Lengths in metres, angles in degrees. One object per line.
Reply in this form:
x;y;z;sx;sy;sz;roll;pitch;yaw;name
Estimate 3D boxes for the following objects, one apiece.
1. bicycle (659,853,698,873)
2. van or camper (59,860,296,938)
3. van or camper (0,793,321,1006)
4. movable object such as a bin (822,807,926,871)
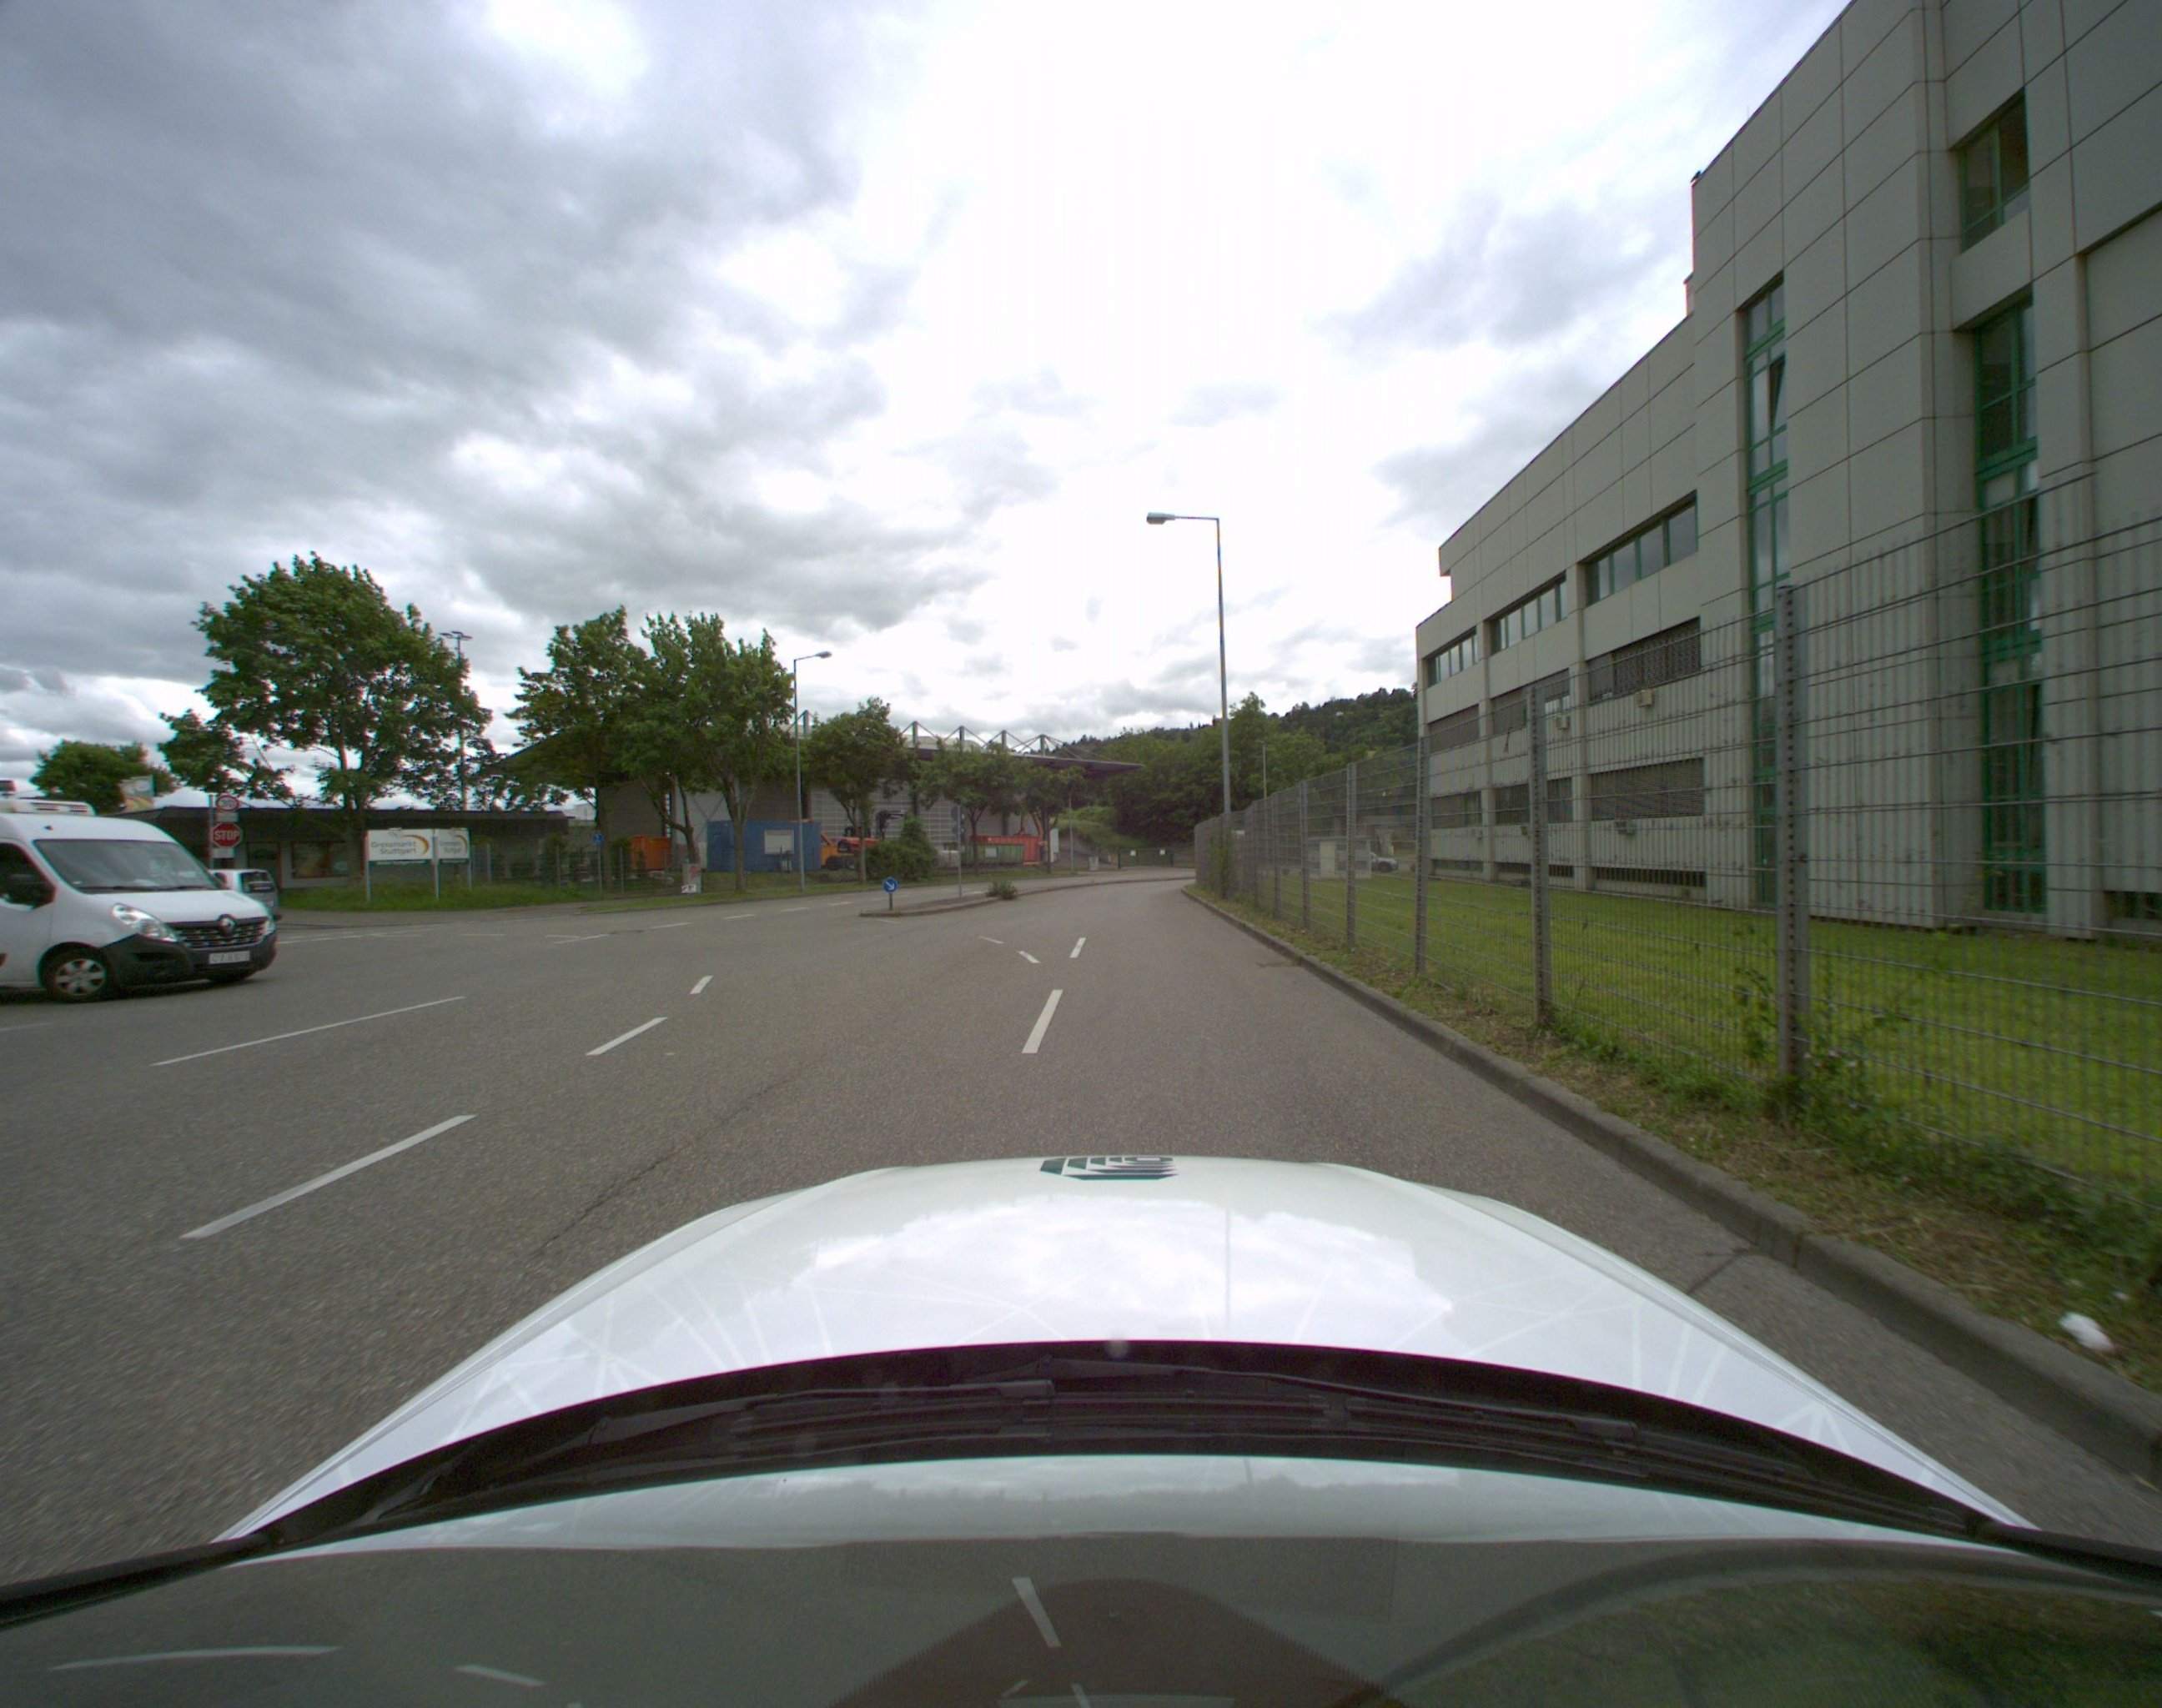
-21.572;0.486;43.687;0.654;0.974;1.773;-2;0;36;bicycle
-25.087;1.194;22.749;4.251;1.963;1.957;-1;1;-2;van or camper
-14.378;0.560;10.871;6.073;2.556;2.271;-1;1;-3;van or camper
-14.194;-1.068;56.243;2.698;4.091;6.595;-2;0;37;movable object such as a bin
